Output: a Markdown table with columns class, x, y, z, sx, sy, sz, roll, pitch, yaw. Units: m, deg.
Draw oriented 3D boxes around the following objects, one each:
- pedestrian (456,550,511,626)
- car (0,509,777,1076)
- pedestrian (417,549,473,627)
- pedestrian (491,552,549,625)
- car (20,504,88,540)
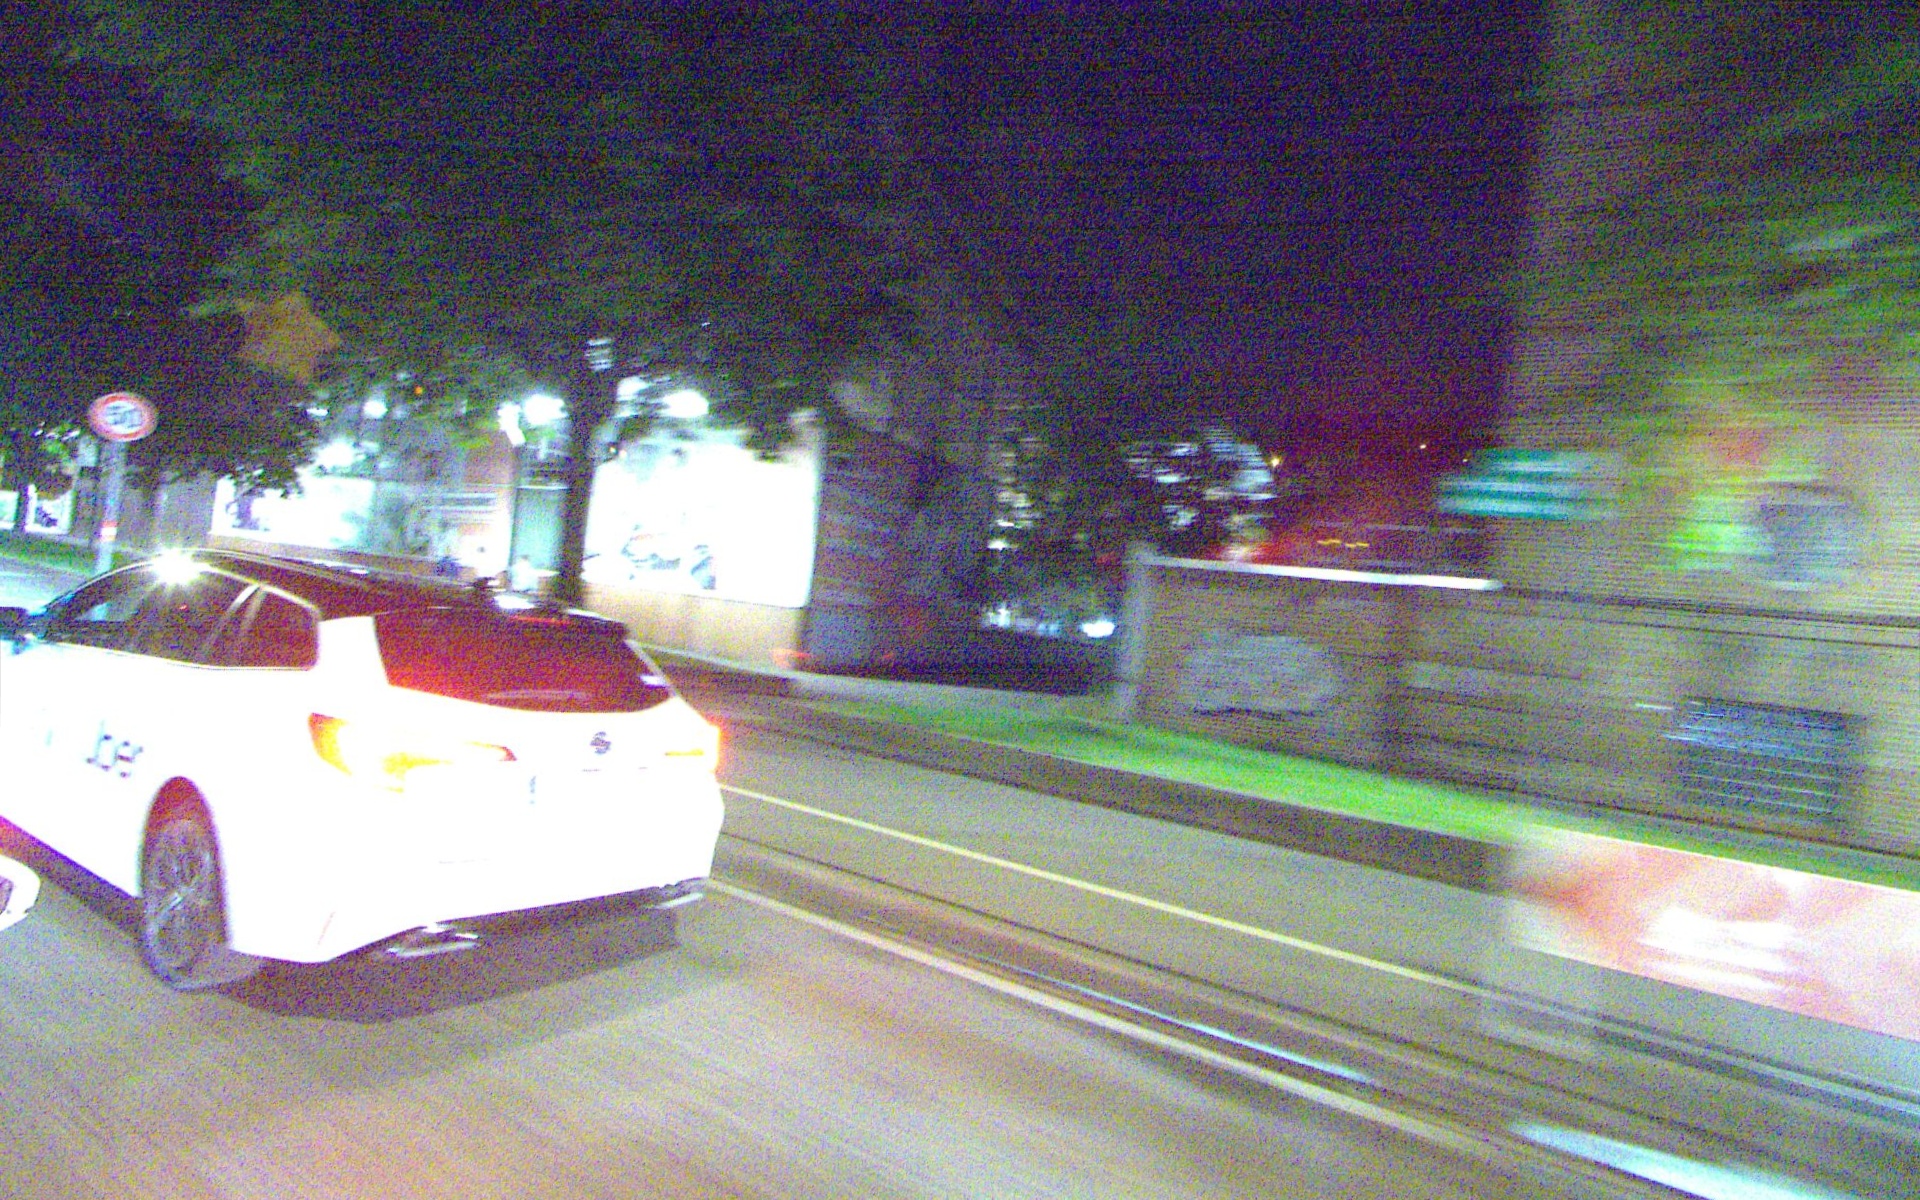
| class | x | y | z | sx | sy | sz | roll | pitch | yaw |
| --- | --- | --- | --- | --- | --- | --- | --- | --- | --- |
| pedestrian | -11.929 | -0.299 | 25.190 | 0.892 | 1.790 | 0.739 | 6 | 0 | 32 |
| car | -3.042 | 0.509 | 4.620 | 4.143 | 1.451 | 1.733 | 6 | -3 | 33 |
| pedestrian | -12.629 | -0.293 | 24.679 | 0.892 | 1.790 | 0.715 | 6 | 0 | 32 |
| pedestrian | -11.584 | -0.306 | 26.507 | 0.892 | 1.790 | 0.902 | 6 | 0 | 32 |
| car | -47.584 | -4.106 | 52.805 | 3.768 | 1.505 | 1.575 | 6 | -1 | 32 |
